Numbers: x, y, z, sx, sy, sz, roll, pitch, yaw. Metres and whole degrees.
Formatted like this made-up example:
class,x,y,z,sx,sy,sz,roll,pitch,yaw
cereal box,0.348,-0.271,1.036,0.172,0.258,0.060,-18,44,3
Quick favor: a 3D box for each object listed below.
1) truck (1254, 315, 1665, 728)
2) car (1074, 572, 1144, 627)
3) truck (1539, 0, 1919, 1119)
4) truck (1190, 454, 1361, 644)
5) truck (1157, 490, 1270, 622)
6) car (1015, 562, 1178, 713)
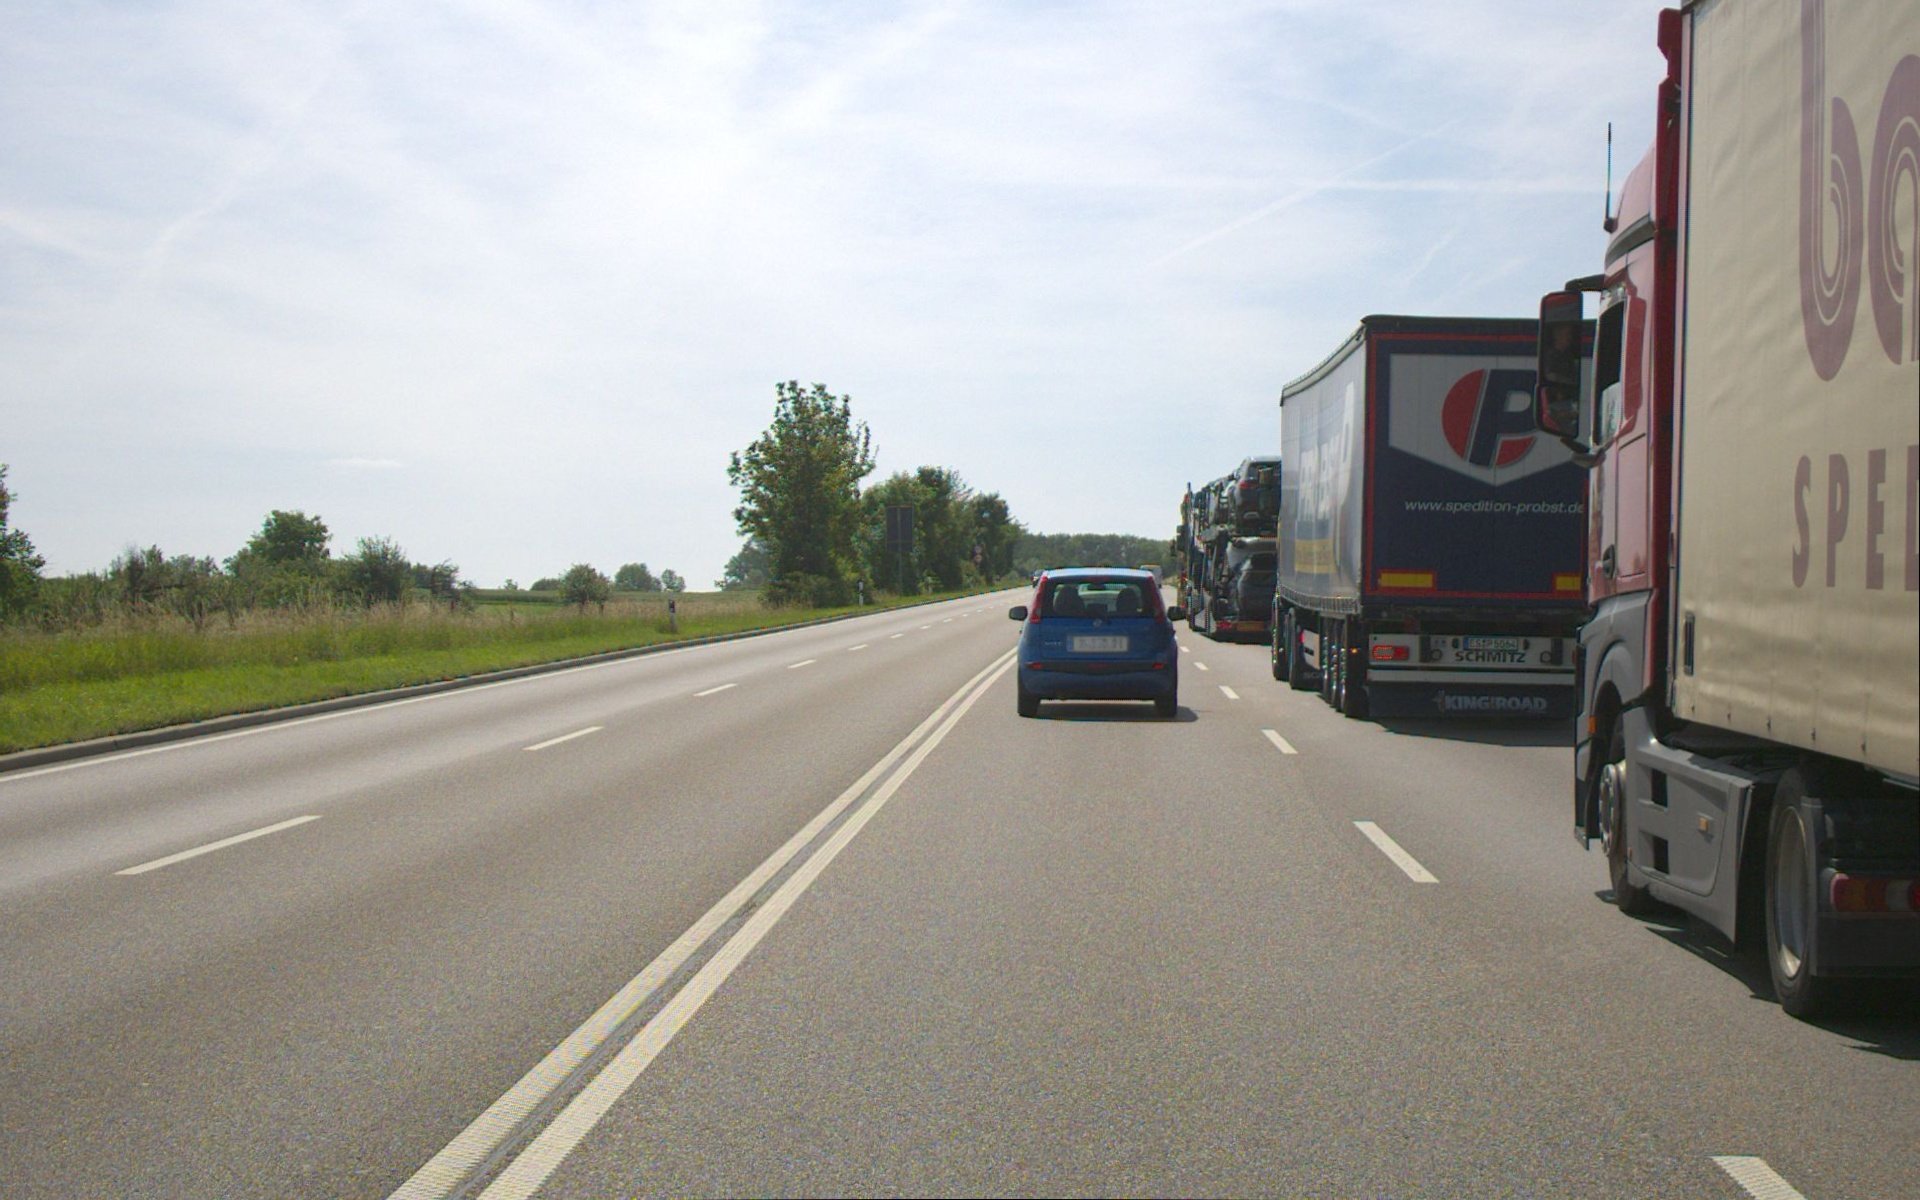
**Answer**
class,x,y,z,sx,sy,sz,roll,pitch,yaw
truck,5.432,-0.820,40.630,3.047,3.897,15.614,1,1,2
car,3.900,-0.026,90.710,1.703,1.371,4.603,2,1,1
truck,4.188,-0.605,8.571,3.007,4.166,16.714,1,1,1
truck,7.142,-1.134,80.374,3.047,3.897,18.396,1,1,2
truck,8.100,-1.408,112.009,3.047,3.897,18.396,1,1,2
car,1.518,0.376,37.065,1.632,1.526,3.914,1,0,4
